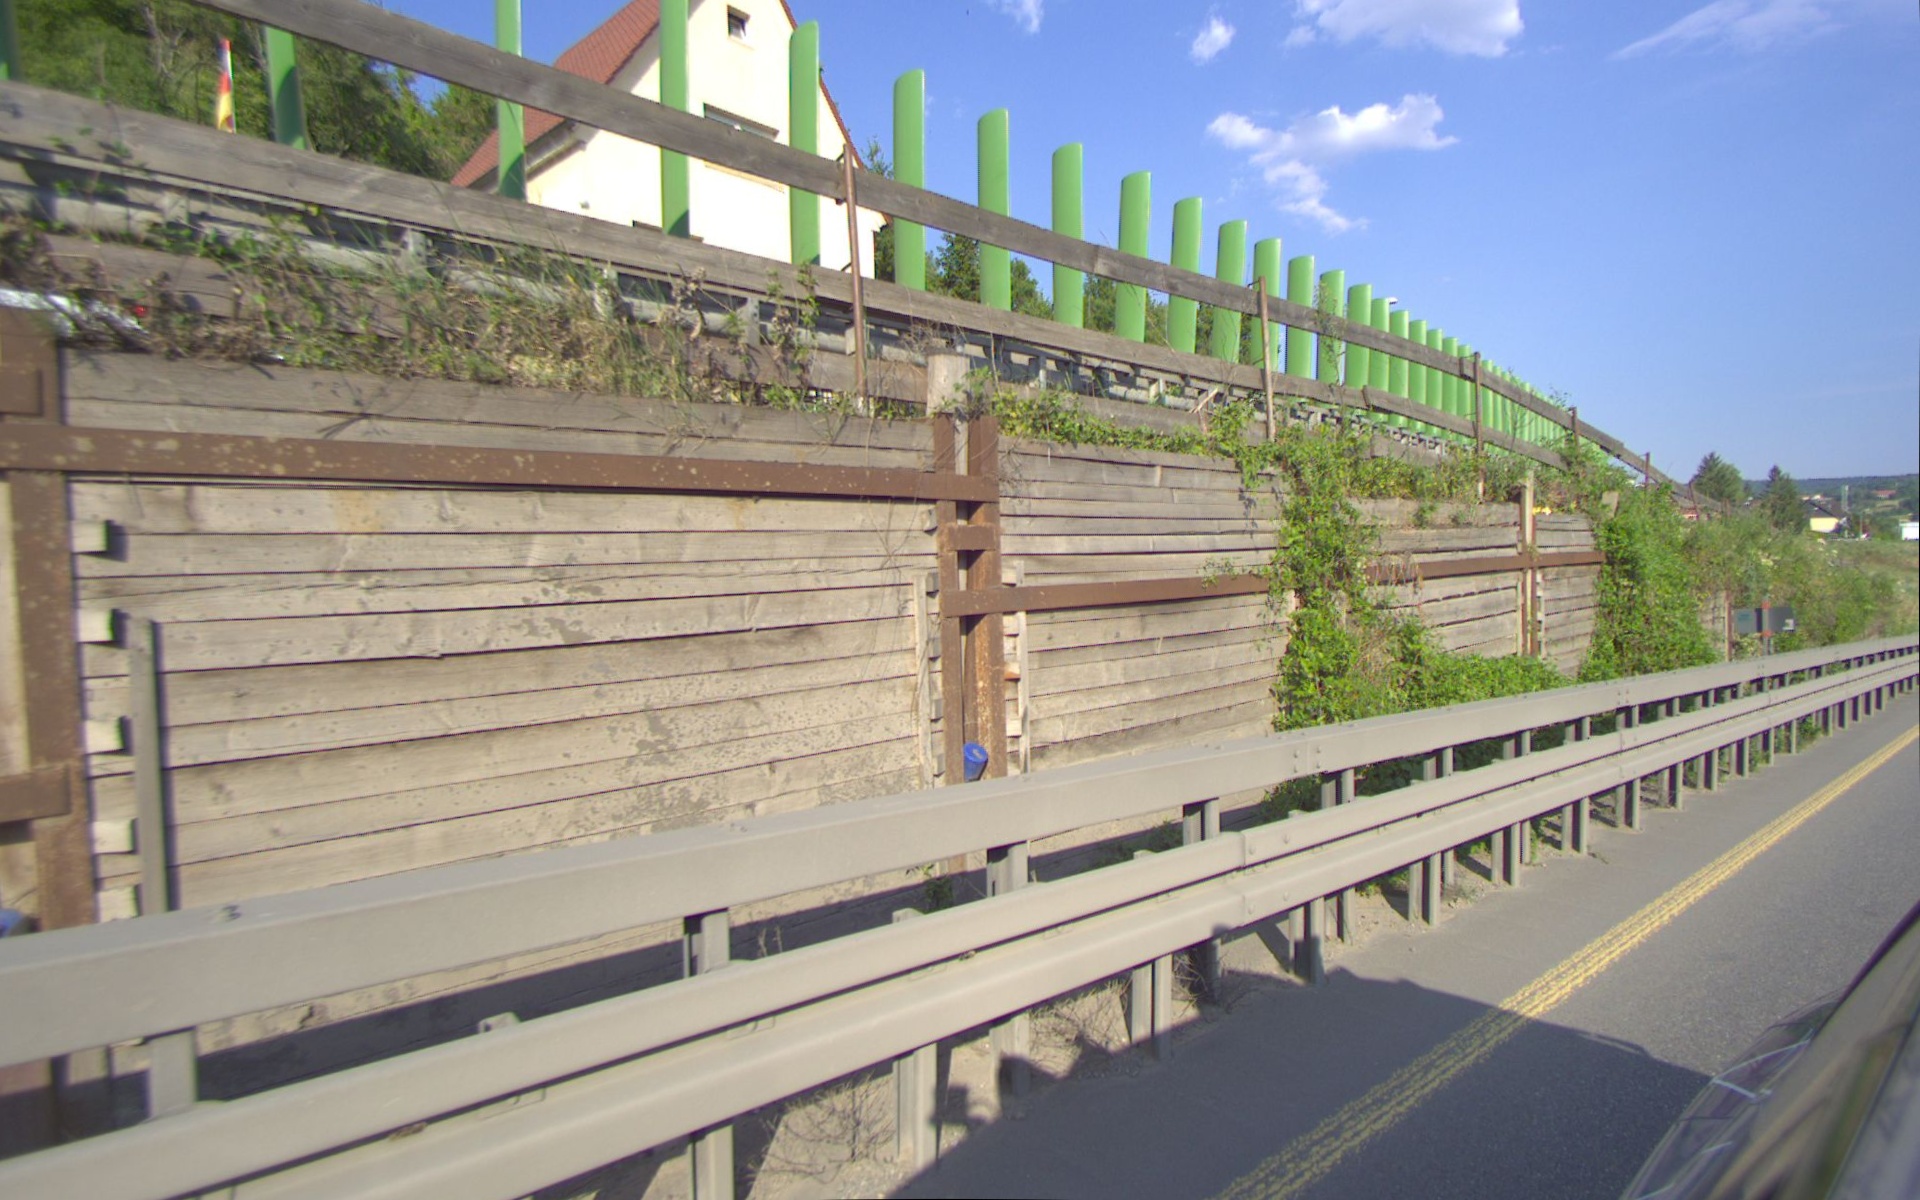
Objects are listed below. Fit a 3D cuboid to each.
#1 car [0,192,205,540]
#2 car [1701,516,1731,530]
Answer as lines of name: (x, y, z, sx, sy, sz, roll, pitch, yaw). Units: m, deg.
car: (-6.380, -1.143, 4.522, 1.697, 1.678, 4.578, 1, 3, 43)
car: (92.982, -9.409, 124.447, 3.929, 1.460, 1.998, -1, 0, -39)
